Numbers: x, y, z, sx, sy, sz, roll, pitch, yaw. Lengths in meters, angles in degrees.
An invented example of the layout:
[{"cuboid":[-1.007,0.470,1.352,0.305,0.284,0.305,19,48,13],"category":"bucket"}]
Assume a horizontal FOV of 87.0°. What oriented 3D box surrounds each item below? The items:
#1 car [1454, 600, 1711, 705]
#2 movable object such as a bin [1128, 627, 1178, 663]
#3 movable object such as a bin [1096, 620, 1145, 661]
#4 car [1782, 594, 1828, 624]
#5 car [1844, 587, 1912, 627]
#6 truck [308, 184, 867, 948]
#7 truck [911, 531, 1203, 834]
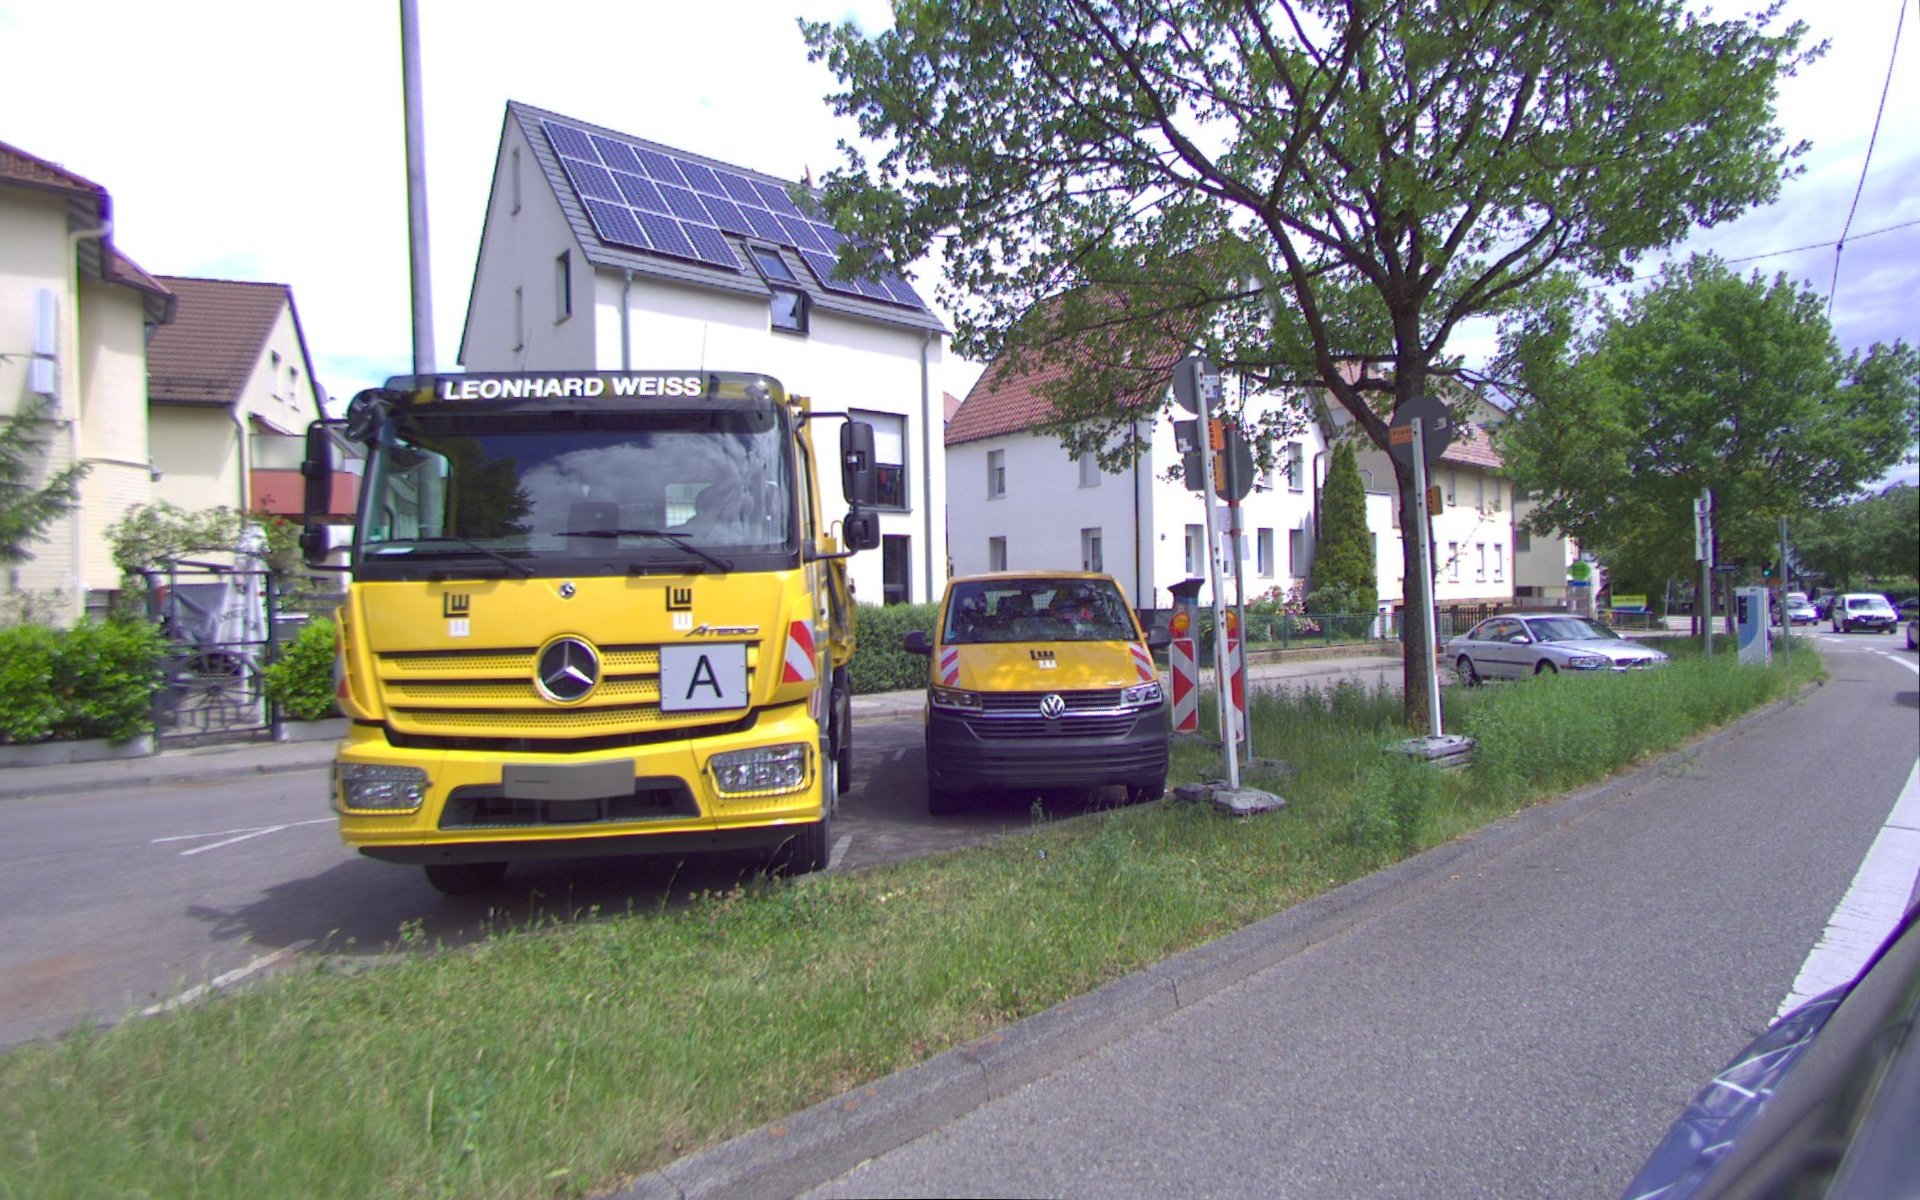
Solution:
[{"cuboid":[10.934,0.838,18.233,1.962,1.598,4.307,0,1,0],"category":"car"},{"cuboid":[5.400,1.254,28.361,0.809,0.953,1.120,0,-1,-42],"category":"movable object such as a bin"},{"cuboid":[4.633,1.157,29.210,0.809,1.133,1.120,0,-1,-42],"category":"movable object such as a bin"},{"cuboid":[49.571,0.490,59.390,1.991,1.683,3.941,-1,0,41],"category":"car"},{"cuboid":[41.866,0.298,46.239,1.990,1.751,4.047,-1,0,39],"category":"car"},{"cuboid":[-1.896,-0.002,7.681,2.295,3.241,6.635,0,-3,-6],"category":"truck"},{"cuboid":[0.616,0.659,9.900,1.962,2.040,5.956,-1,-2,-1],"category":"truck"}]
